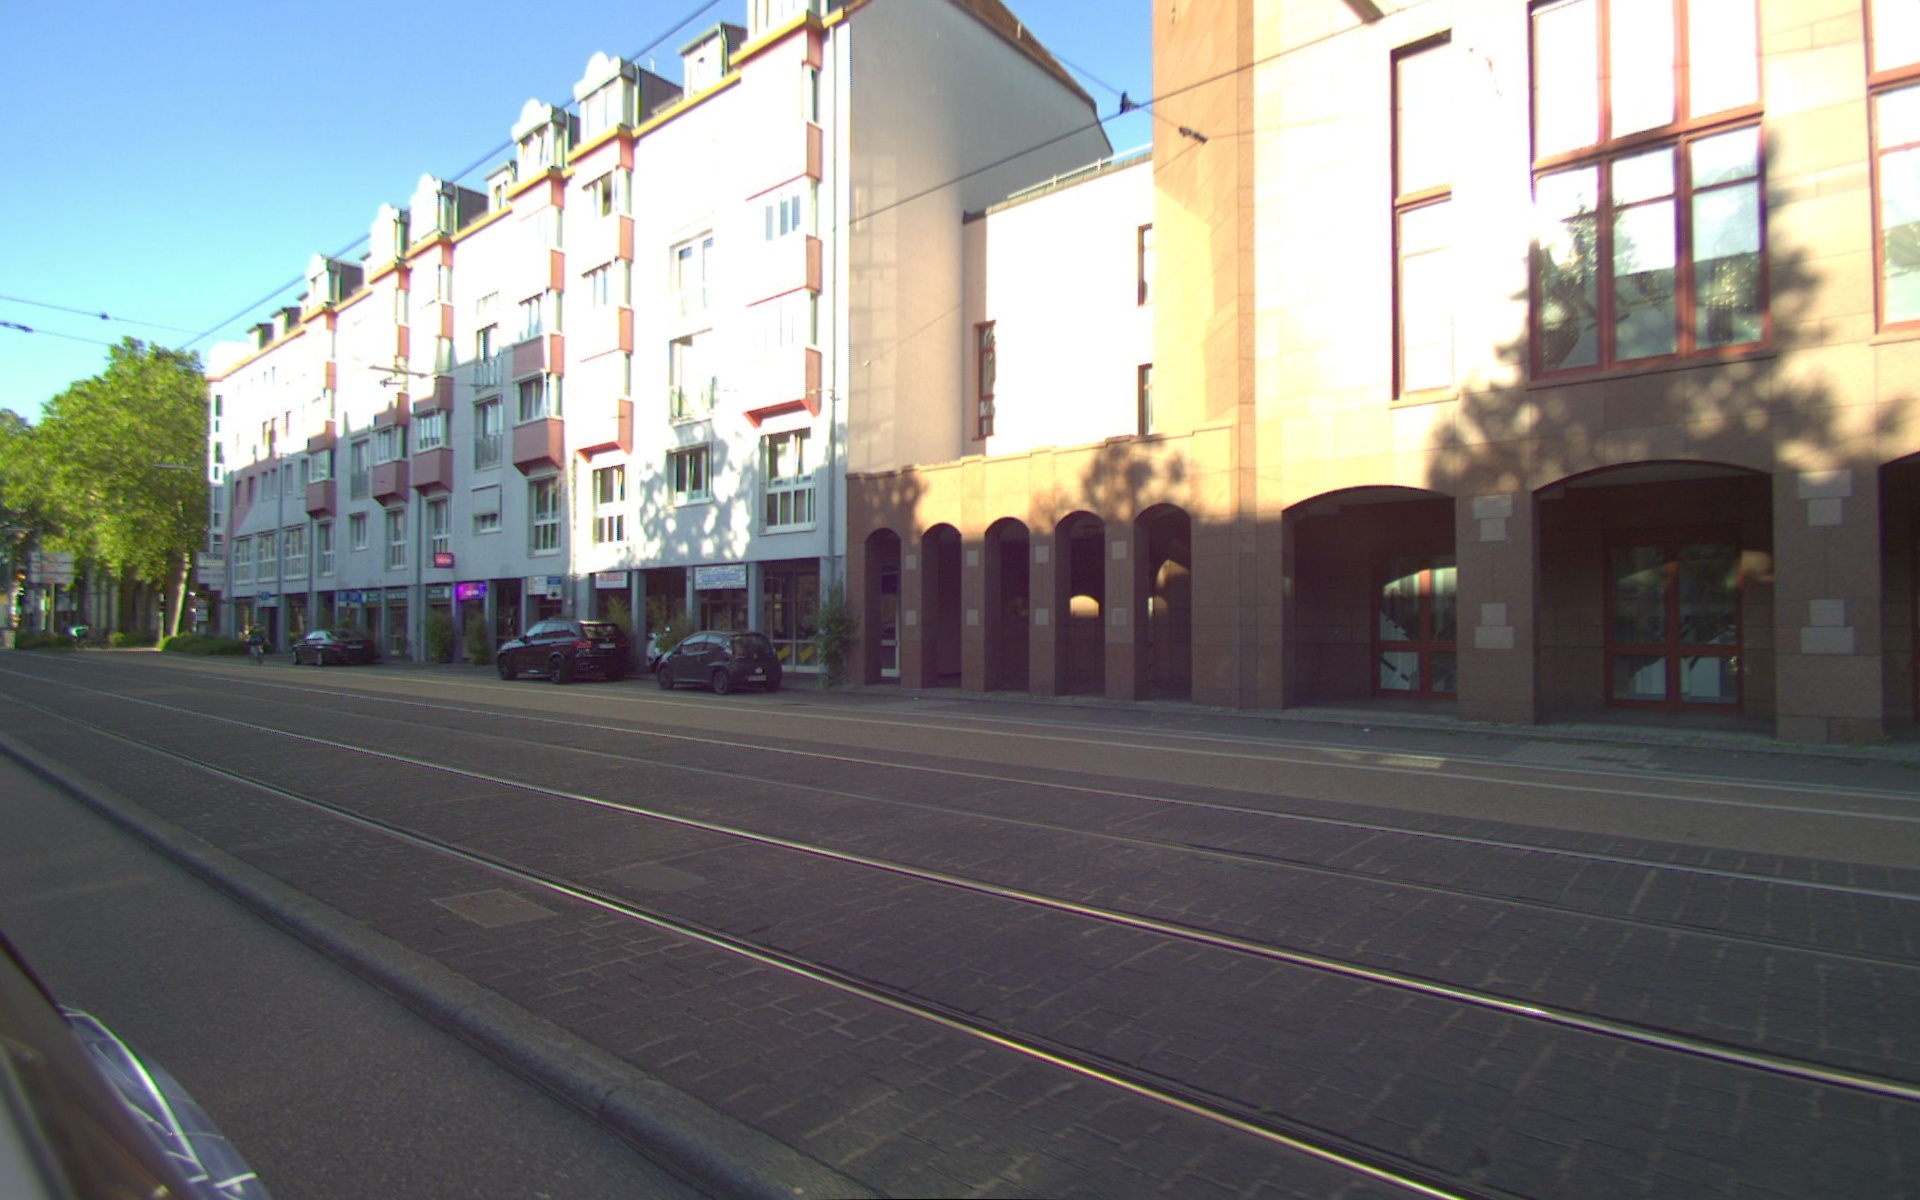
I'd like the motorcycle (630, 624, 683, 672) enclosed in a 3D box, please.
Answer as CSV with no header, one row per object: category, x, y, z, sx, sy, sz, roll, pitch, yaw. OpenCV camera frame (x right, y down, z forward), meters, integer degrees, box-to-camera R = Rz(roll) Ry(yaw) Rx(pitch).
motorcycle,-8.600,1.337,28.634,0.760,1.290,2.142,-1,0,-36

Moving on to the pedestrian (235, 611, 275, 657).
pedestrian,-27.979,1.355,40.152,1.081,1.792,1.253,2,-3,-45

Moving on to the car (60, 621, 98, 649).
car,-54.818,2.172,62.959,2.881,1.686,1.365,-1,-2,41

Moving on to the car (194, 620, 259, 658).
car,-37.378,1.954,51.536,4.384,1.811,1.905,-1,-2,44

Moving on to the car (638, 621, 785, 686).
car,-6.003,1.226,24.280,3.682,1.411,1.625,-1,0,42

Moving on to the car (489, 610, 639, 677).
car,-11.236,1.170,28.578,4.556,1.713,1.940,-1,0,39

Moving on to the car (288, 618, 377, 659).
car,-25.429,1.530,40.957,4.558,1.520,1.805,-1,0,41
